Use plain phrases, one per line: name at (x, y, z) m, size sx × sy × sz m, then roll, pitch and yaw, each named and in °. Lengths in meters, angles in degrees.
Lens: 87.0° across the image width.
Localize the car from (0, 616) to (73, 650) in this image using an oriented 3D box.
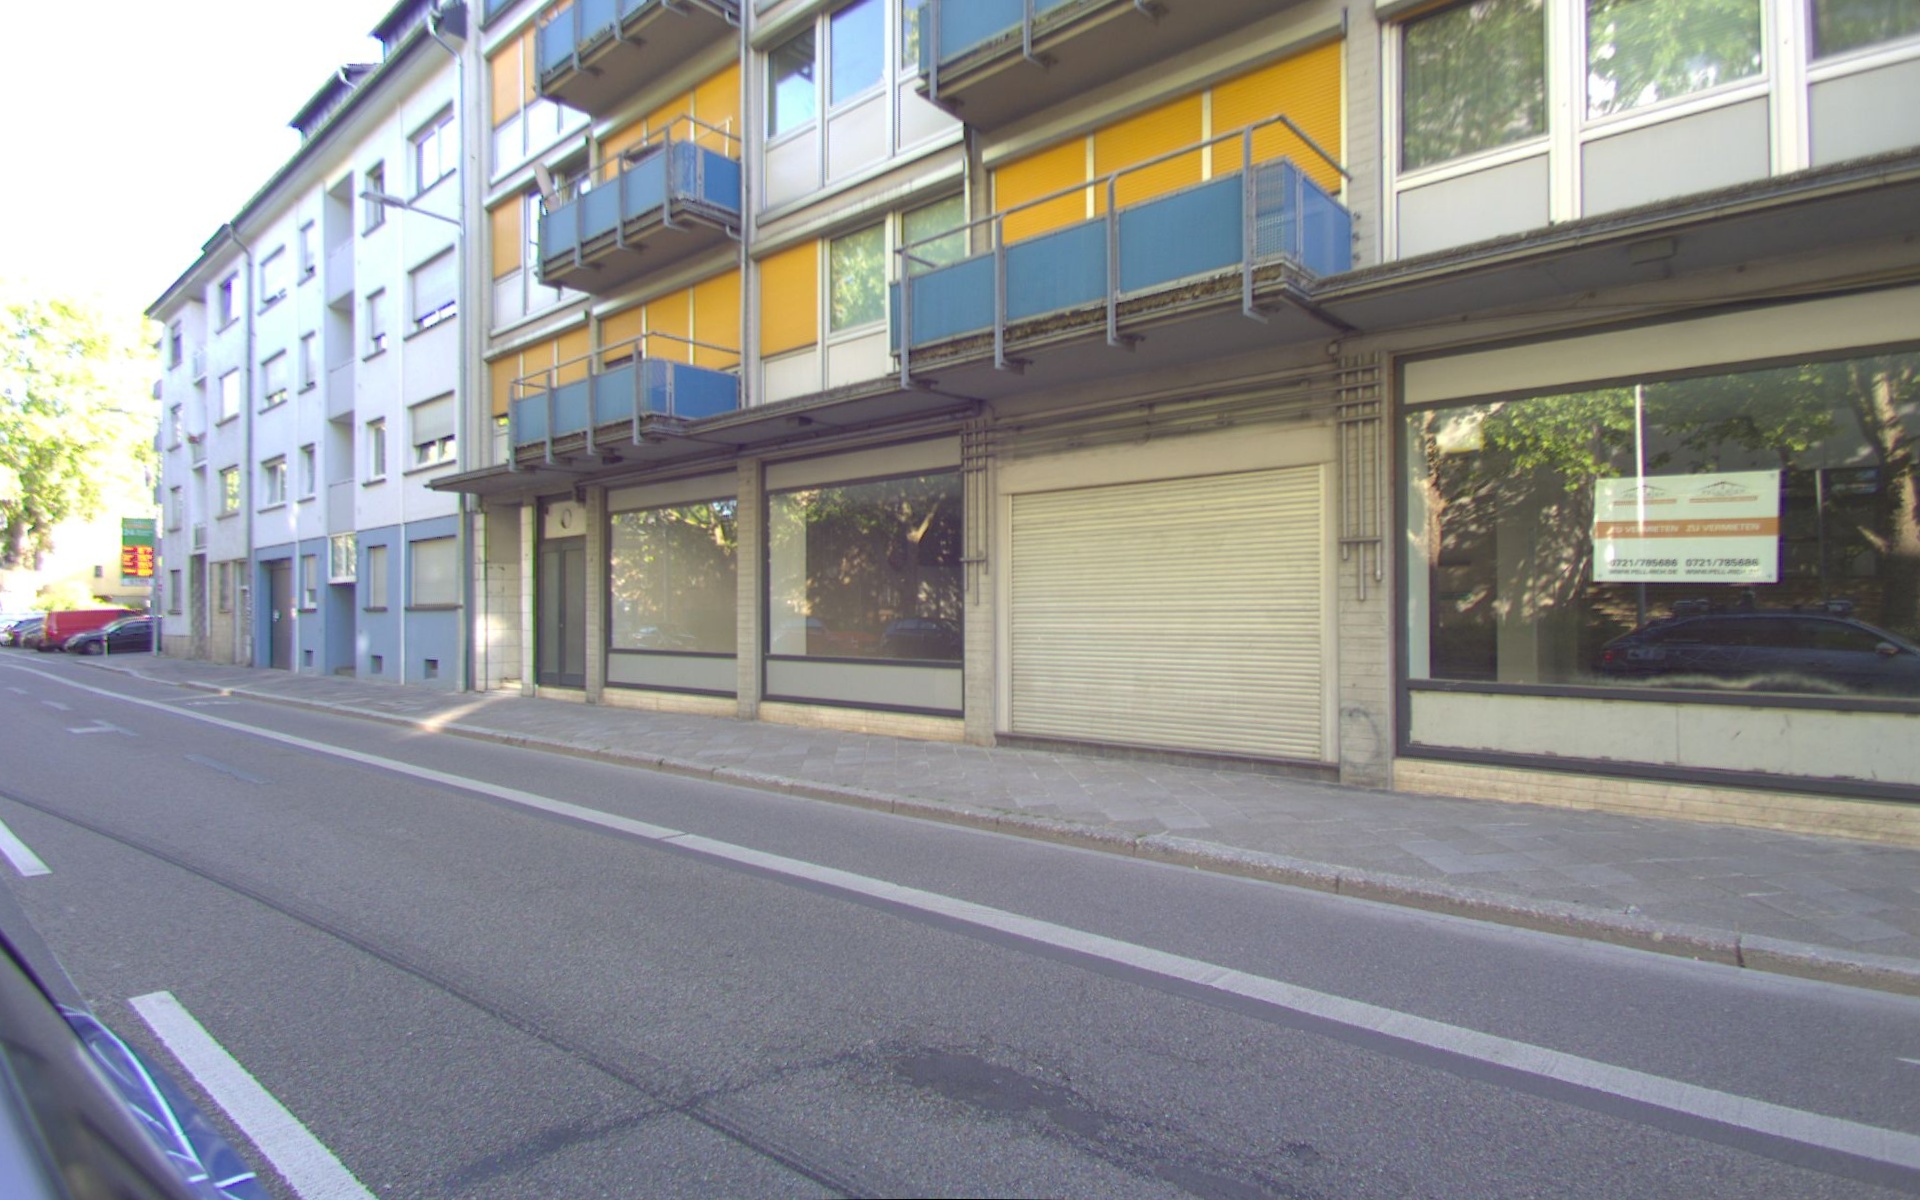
car at (-59.357, 2.086, 64.403) m, size 2.000 × 2.052 × 4.180 m, roll -1°, pitch 0°, yaw 43°

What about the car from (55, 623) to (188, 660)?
car at (-36.507, 1.786, 44.163) m, size 1.657 × 1.417 × 4.269 m, roll -1°, pitch 0°, yaw 40°

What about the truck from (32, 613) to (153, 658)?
truck at (-40.733, 1.641, 47.575) m, size 1.999 × 1.939 × 4.040 m, roll -1°, pitch 0°, yaw 40°

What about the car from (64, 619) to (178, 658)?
car at (-38.058, 1.723, 45.945) m, size 1.657 × 1.583 × 3.762 m, roll -1°, pitch 0°, yaw 41°

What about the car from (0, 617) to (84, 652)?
car at (-56.073, 2.057, 61.473) m, size 2.000 × 1.971 × 4.180 m, roll -1°, pitch 0°, yaw 43°
